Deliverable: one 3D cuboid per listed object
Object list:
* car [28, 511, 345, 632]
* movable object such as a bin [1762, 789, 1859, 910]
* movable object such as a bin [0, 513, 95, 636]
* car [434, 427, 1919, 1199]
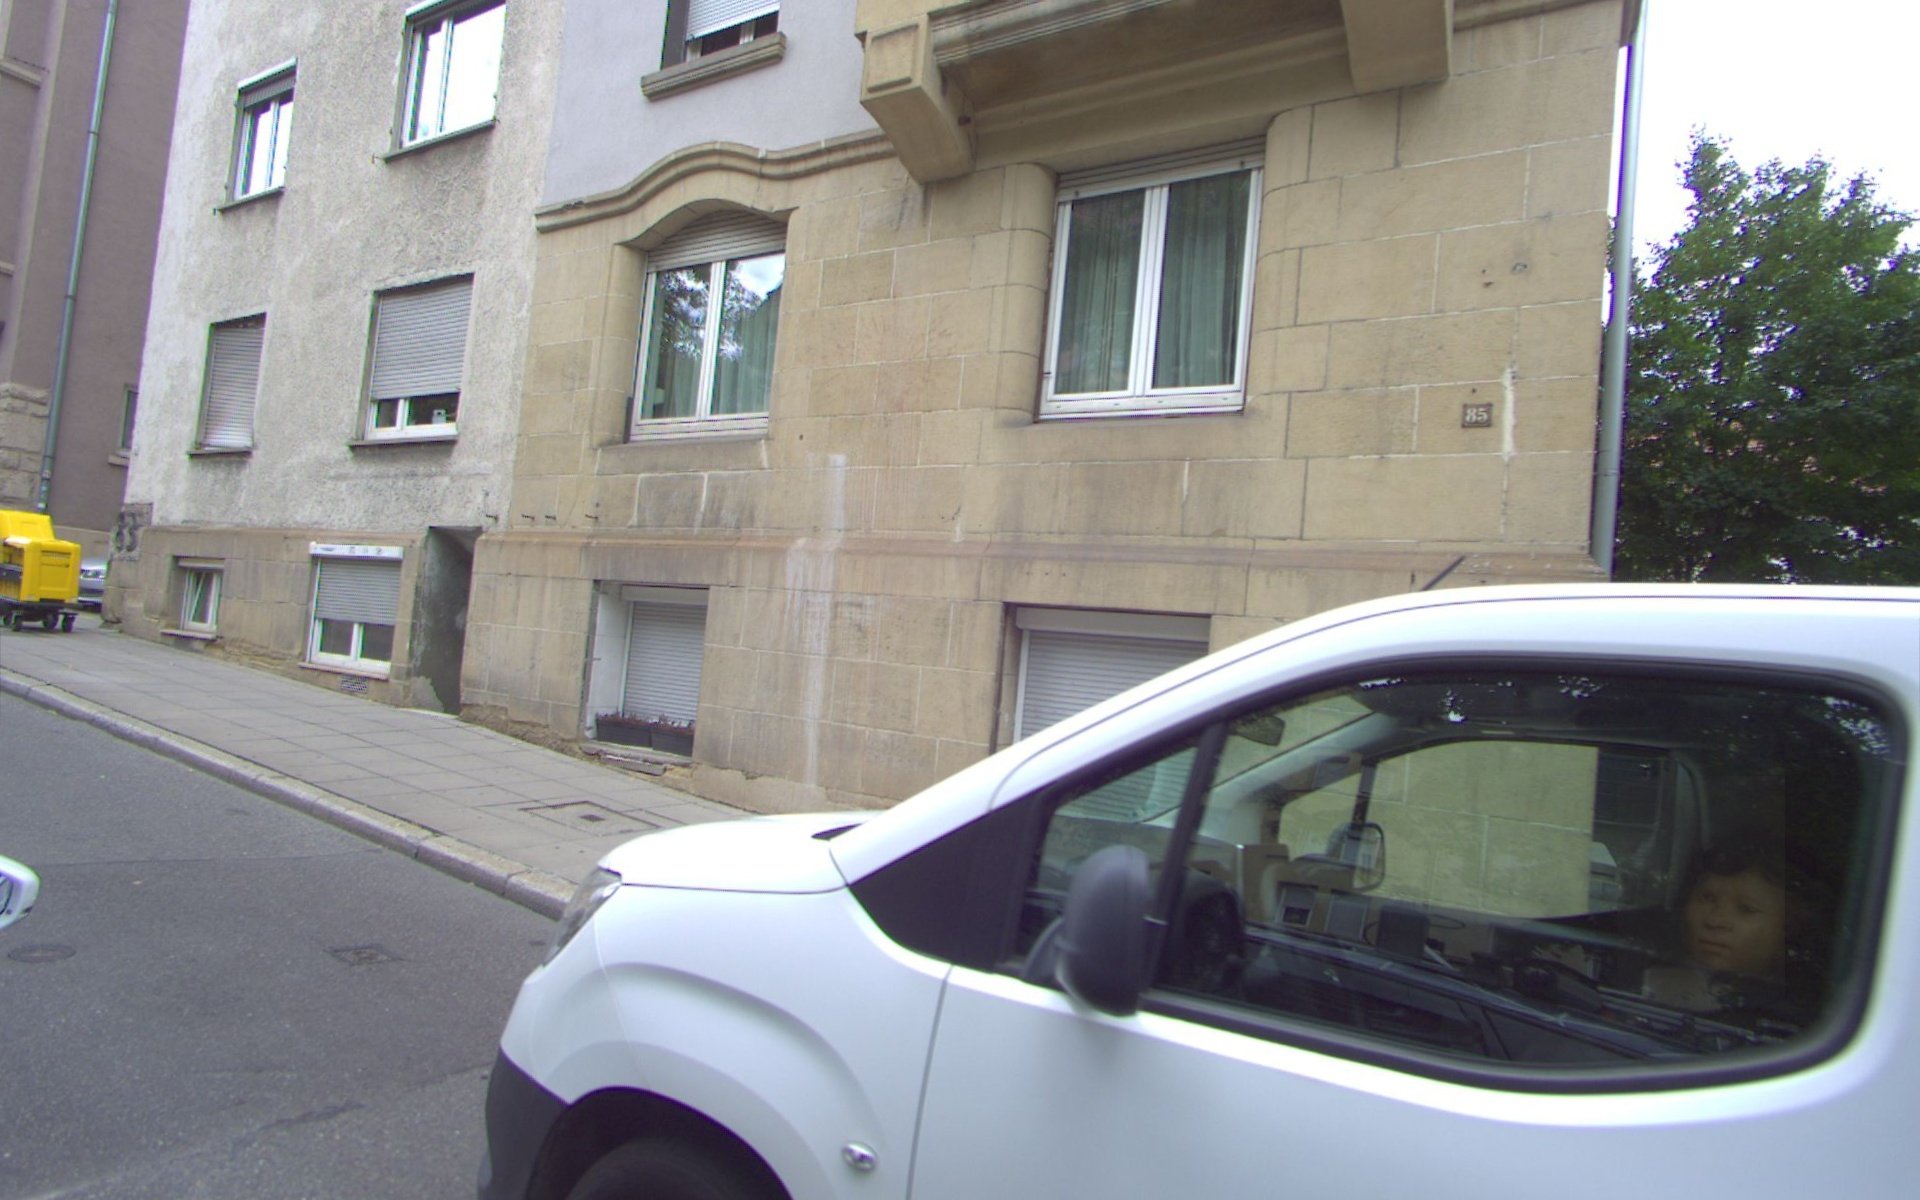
[{"bbox_3d":[-13.591,-0.431,17.936,1.770,1.419,3.996,10,-1,31],"label":"car"},{"bbox_3d":[7.747,2.252,9.183,0.541,0.943,0.537,5,-3,33],"label":"movable object such as a bin"},{"bbox_3d":[-12.025,-0.359,12.936,1.664,1.437,0.720,6,-1,29],"label":"movable object such as a bin"},{"bbox_3d":[1.521,0.903,1.435,4.942,1.845,1.853,5,-4,35],"label":"car"}]
